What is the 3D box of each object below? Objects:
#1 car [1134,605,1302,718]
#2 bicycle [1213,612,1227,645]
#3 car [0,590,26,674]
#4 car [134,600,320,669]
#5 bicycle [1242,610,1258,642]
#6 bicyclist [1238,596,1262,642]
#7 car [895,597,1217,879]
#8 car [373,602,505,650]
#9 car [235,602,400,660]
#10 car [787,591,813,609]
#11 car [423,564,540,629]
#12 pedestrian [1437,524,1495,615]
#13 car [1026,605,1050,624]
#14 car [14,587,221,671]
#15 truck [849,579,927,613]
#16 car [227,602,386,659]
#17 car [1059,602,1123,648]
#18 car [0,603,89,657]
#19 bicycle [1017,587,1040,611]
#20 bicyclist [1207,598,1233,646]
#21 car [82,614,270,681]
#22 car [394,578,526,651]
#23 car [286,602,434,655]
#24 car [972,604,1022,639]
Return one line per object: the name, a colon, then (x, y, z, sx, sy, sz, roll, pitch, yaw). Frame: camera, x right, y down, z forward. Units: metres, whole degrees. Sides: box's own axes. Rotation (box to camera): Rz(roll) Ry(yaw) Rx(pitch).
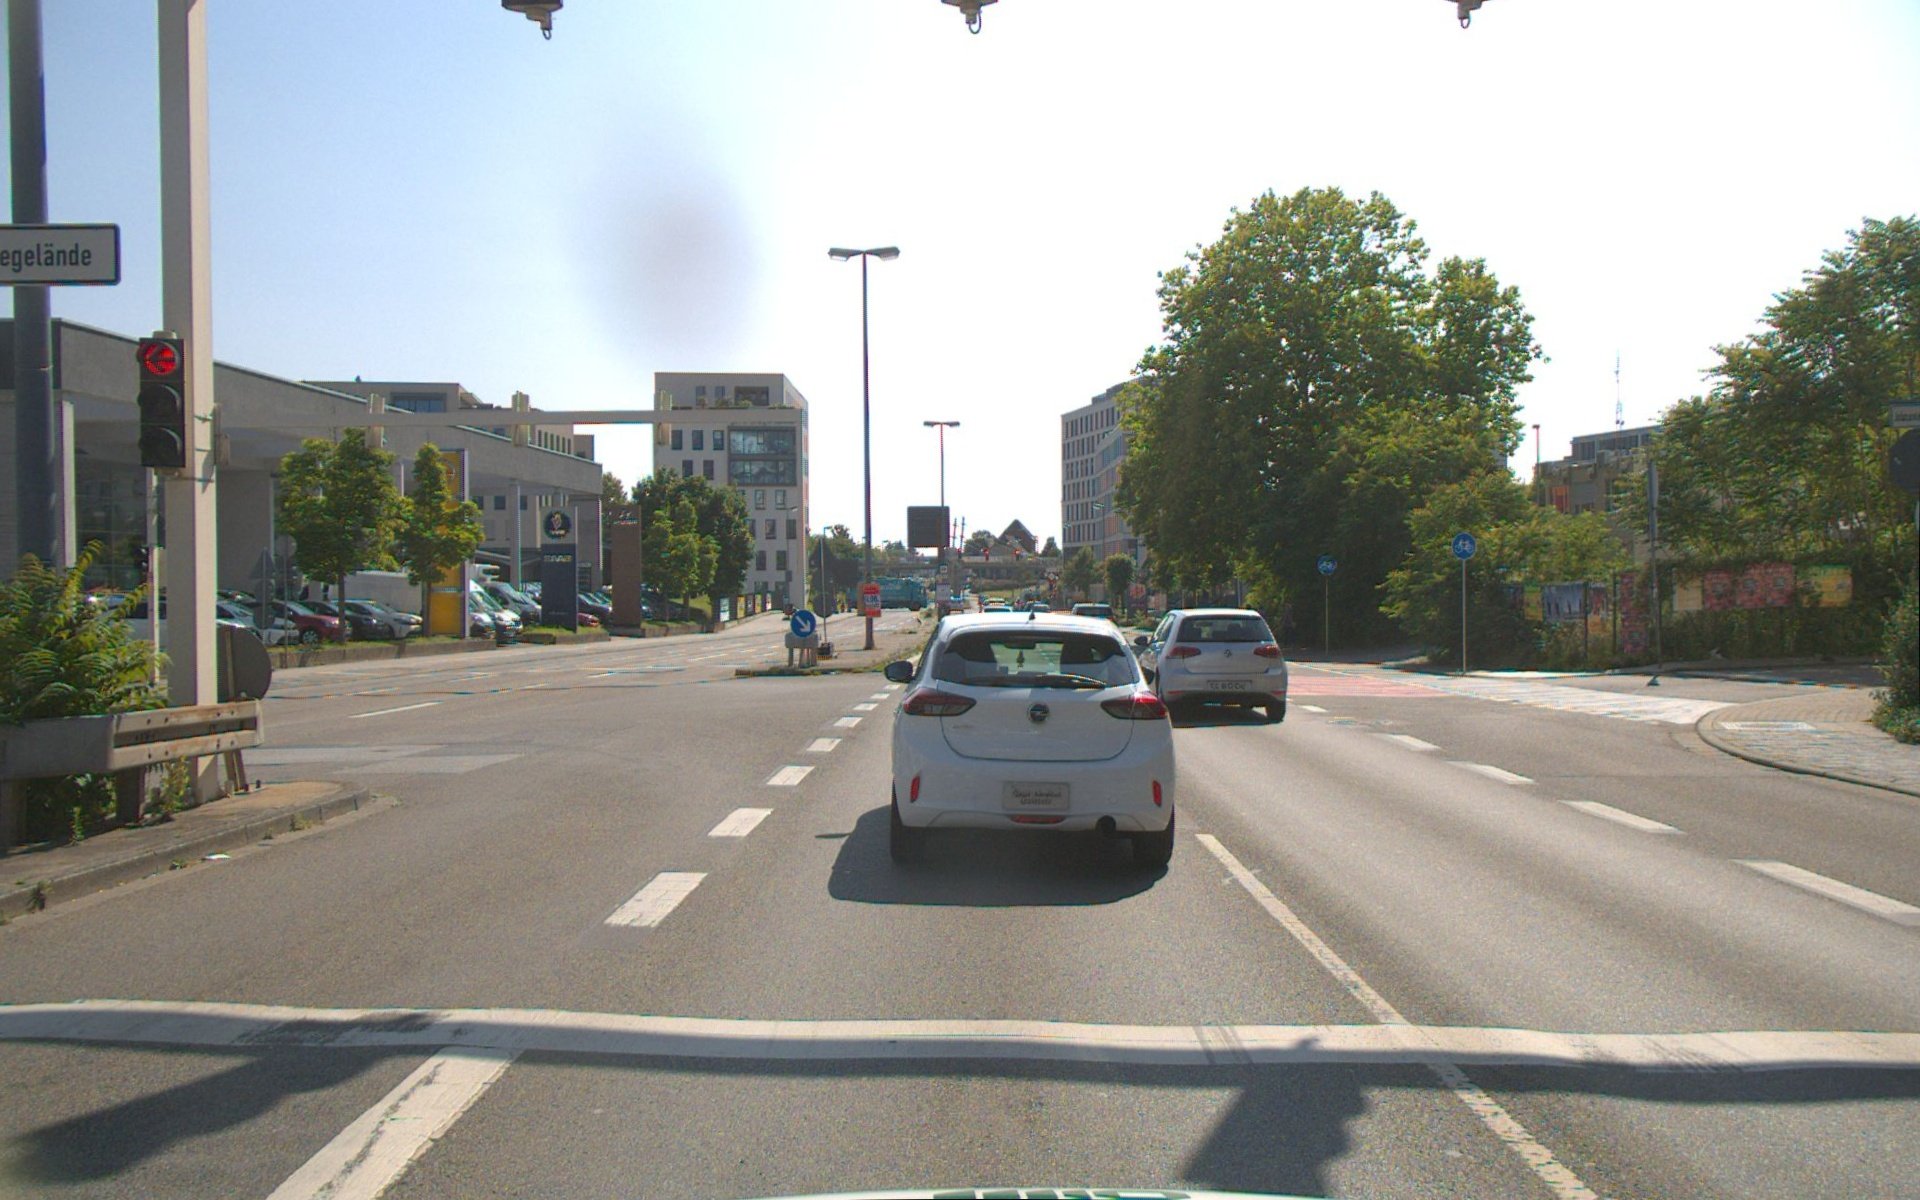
car: (3.546, 0.819, 23.422, 1.770, 1.454, 4.000, 0, -1, 0)
bicycle: (9.828, 1.083, 62.496, 0.365, 1.238, 1.154, 1, 0, 1)
car: (-21.514, 0.729, 35.836, 1.885, 1.764, 3.252, 0, -1, -36)
car: (-20.103, 0.931, 45.480, 4.210, 1.796, 1.999, -1, 0, -2)
bicycle: (10.867, 0.966, 61.931, 0.366, 1.167, 1.034, 1, -1, -1)
bicyclist: (10.839, 0.709, 61.935, 0.675, 1.672, 0.775, 0, 0, -8)
car: (0.537, 0.758, 11.030, 1.743, 1.520, 4.000, 0, 0, 0)
car: (-19.439, 0.959, 61.814, 4.264, 1.726, 2.001, -1, 0, 6)
car: (-19.605, 0.946, 50.612, 4.268, 1.726, 1.999, 0, 0, -2)
car: (-13.430, -0.004, 138.845, 1.769, 1.410, 4.000, 1, -1, 0)
car: (-20.103, -0.131, 69.586, 4.264, 2.646, 2.001, -1, 0, 6)
pedestrian: (11.557, -0.684, 37.796, 1.006, 2.049, 1.038, 0, 0, 0)
car: (6.200, 1.146, 131.431, 1.769, 1.410, 4.000, 1, -1, 0)
car: (-19.645, 0.656, 38.689, 3.792, 1.870, 1.999, -1, 0, -2)
truck: (-8.636, -0.436, 197.385, 8.902, 3.902, 3.072, -1, 0, -13)
car: (-20.824, 0.955, 52.842, 4.269, 1.726, 1.999, -1, 0, -2)
car: (4.696, 0.861, 59.723, 1.952, 1.578, 4.433, -1, 0, 0)
car: (-25.053, 0.812, 42.510, 4.274, 1.290, 1.996, -2, -2, -8)
bicycle: (6.282, -0.093, 151.706, 1.952, 2.195, 4.000, 0, 0, 0)
bicyclist: (9.825, 0.824, 62.514, 0.861, 1.803, 0.864, 0, 0, 0)
car: (-20.195, 1.209, 42.749, 3.910, 1.627, 1.997, 0, 0, -7)
car: (-19.389, 0.557, 64.260, 4.401, 2.731, 2.130, -1, 0, 9)
car: (-20.297, 0.946, 56.054, 4.269, 1.726, 1.999, -1, 0, -2)
car: (1.564, 0.917, 71.452, 1.953, 1.472, 4.370, 0, 0, -1)
